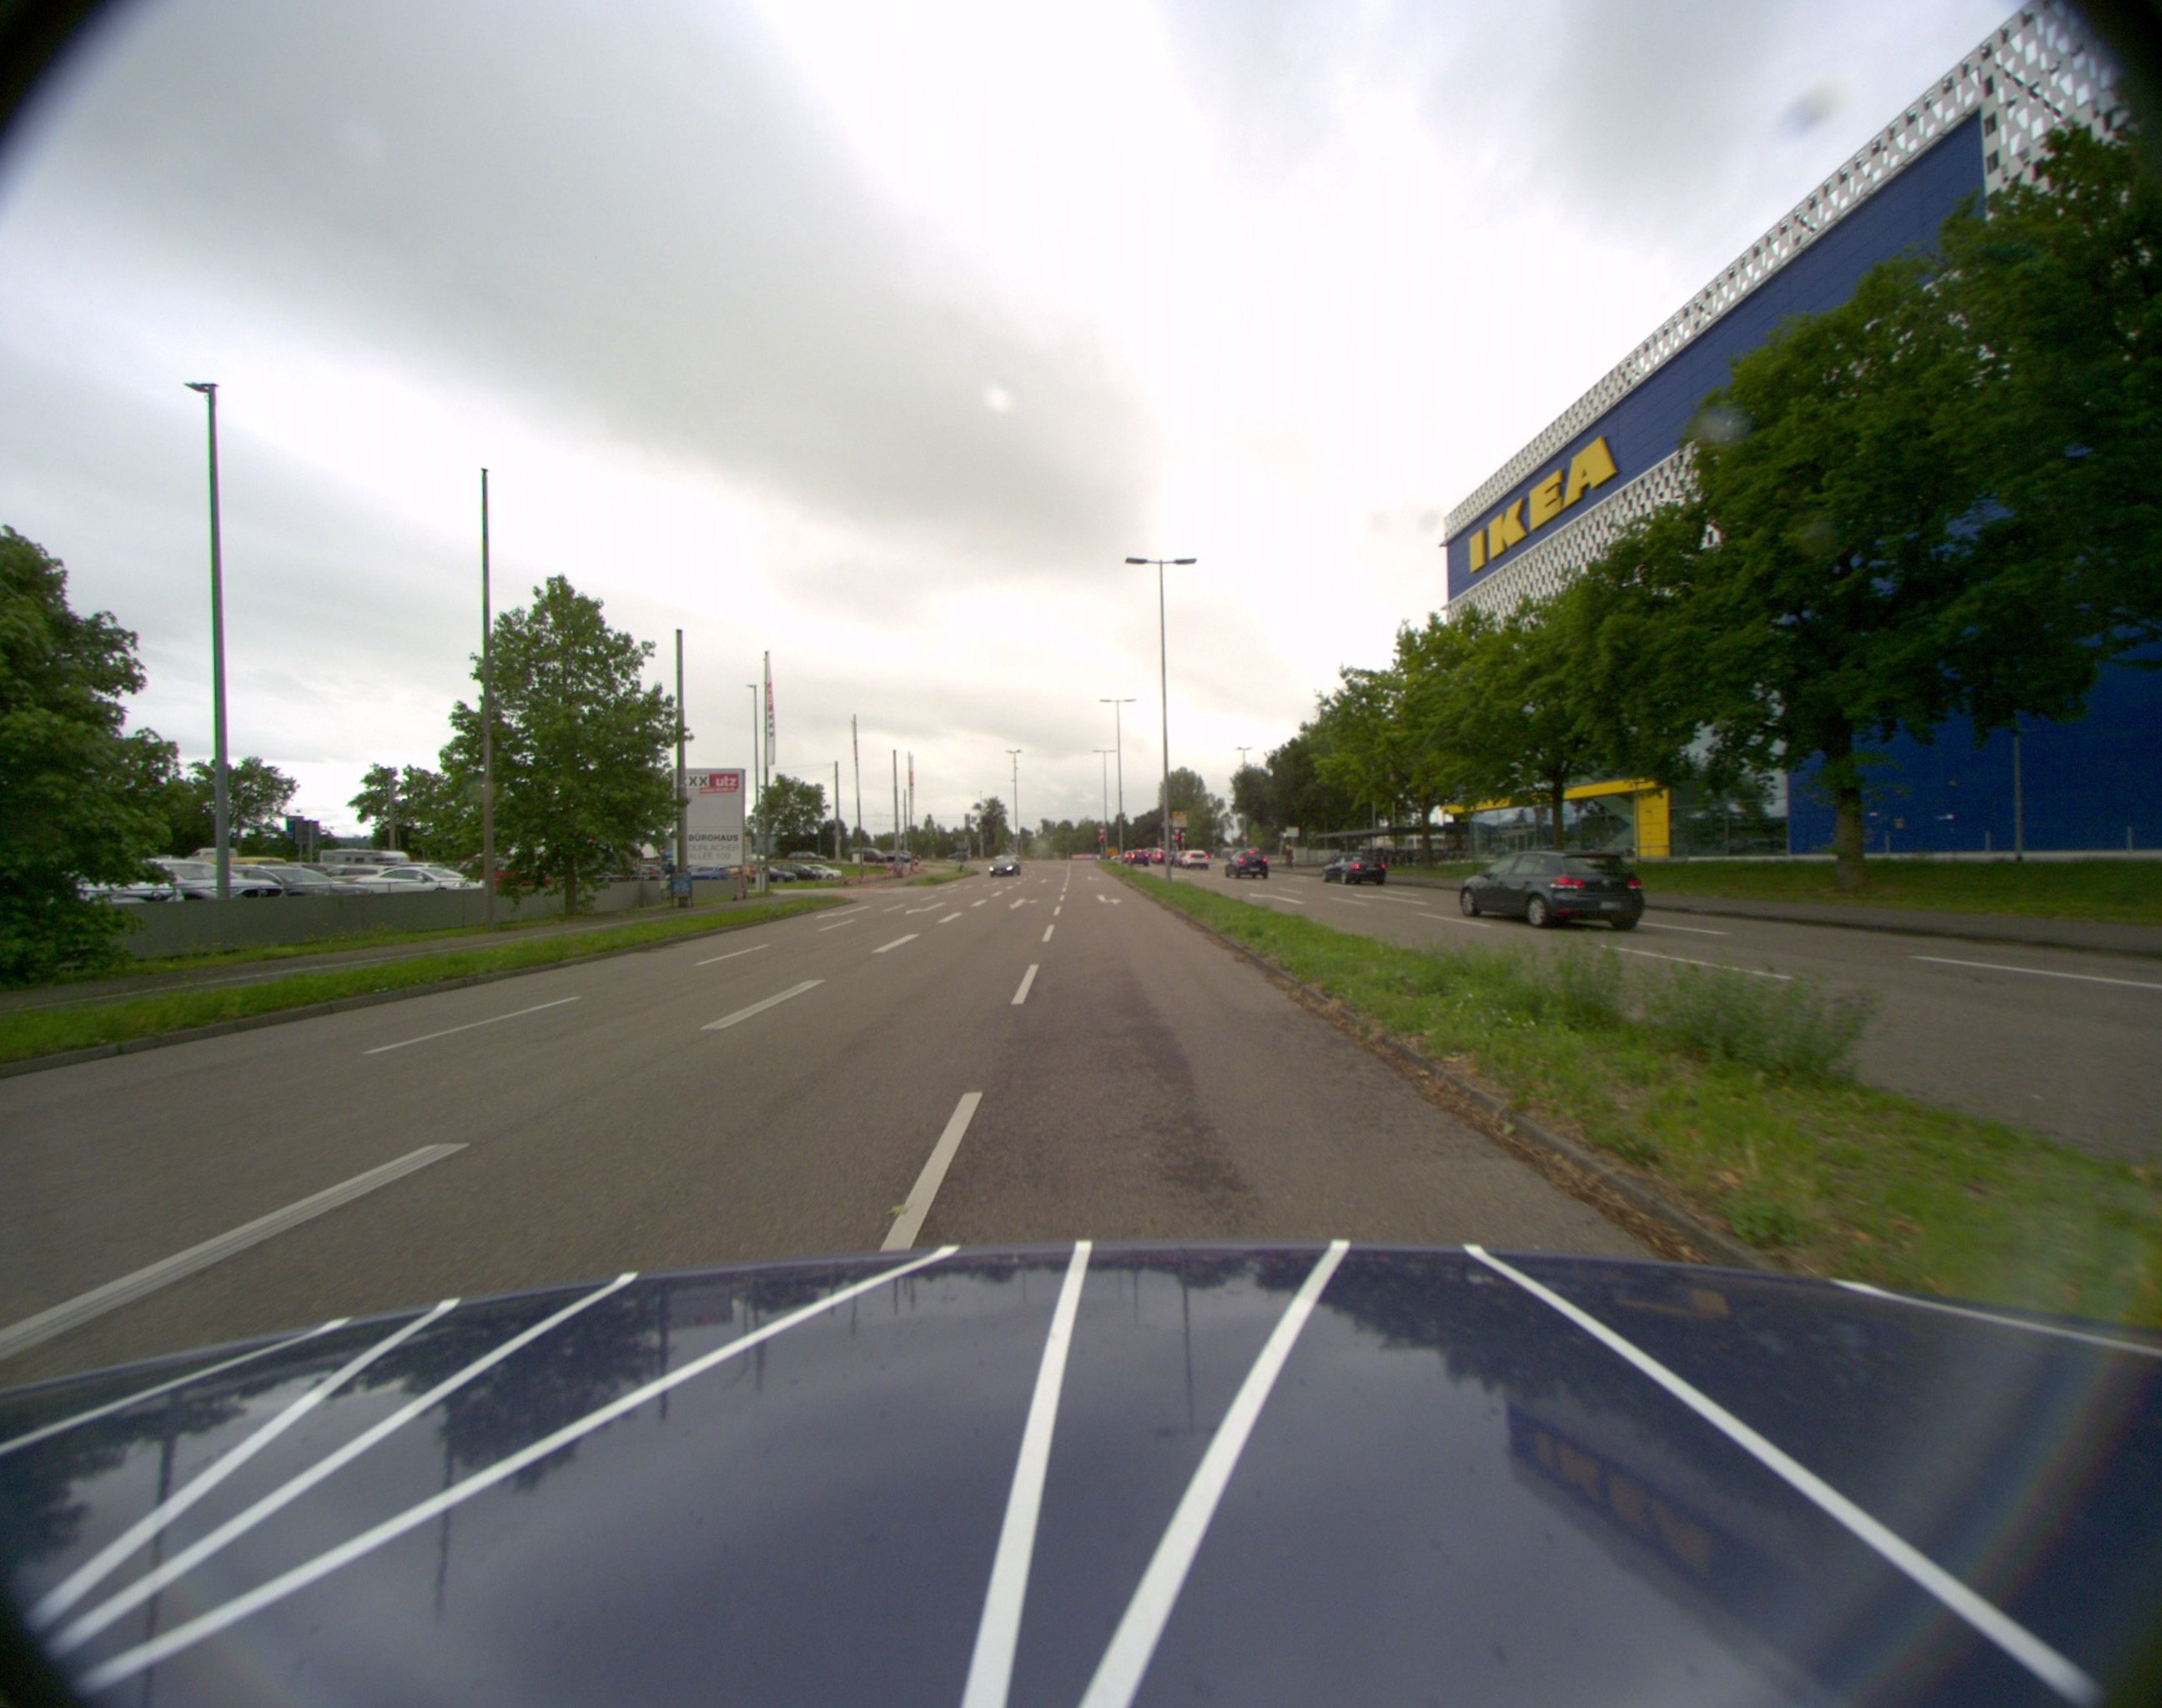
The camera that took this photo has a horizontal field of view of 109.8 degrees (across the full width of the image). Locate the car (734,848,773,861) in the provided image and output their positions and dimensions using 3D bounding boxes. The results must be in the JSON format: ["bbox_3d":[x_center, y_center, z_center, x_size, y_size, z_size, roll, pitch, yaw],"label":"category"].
[{"bbox_3d":[-40.826,0.051,94.830,4.043,1.529,1.734,-1,-1,0],"label":"car"}]

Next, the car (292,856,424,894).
[{"bbox_3d":[-33.395,0.986,35.183,4.422,1.574,1.835,-2,-1,2],"label":"car"}]

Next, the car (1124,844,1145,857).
[{"bbox_3d":[5.942,-0.439,85.378,1.888,1.428,4.430,0,1,-2],"label":"car"}]

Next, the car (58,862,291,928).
[{"bbox_3d":[-23.554,1.050,19.852,4.064,1.531,1.764,-1,-1,2],"label":"car"}]

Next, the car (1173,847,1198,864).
[{"bbox_3d":[9.427,0.107,68.769,1.607,1.489,4.036,1,1,-1],"label":"car"}]

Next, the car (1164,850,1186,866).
[{"bbox_3d":[9.283,0.375,75.090,1.607,1.436,4.142,1,1,-1],"label":"car"}]

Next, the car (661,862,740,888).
[{"bbox_3d":[-23.639,1.269,47.310,3.997,1.447,1.814,-1,1,1],"label":"car"}]

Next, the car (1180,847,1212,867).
[{"bbox_3d":[9.410,0.212,62.227,1.936,1.510,4.180,-1,2,-1],"label":"car"}]

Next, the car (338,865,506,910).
[{"bbox_3d":[-23.730,1.210,27.480,4.385,1.452,1.961,-1,-1,2],"label":"car"}]

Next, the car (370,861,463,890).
[{"bbox_3d":[-38.978,1.249,44.629,3.904,1.571,1.693,-1,0,-1],"label":"car"}]

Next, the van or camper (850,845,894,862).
[{"bbox_3d":[-25.589,-0.079,93.004,4.743,2.003,2.125,1,3,16],"label":"van or camper"}]

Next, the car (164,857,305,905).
[{"bbox_3d":[-33.567,1.051,30.197,3.745,1.757,1.734,-1,-1,2],"label":"car"}]

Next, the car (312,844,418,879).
[{"bbox_3d":[-65.438,0.748,69.548,6.946,2.971,2.769,-1,-1,-1],"label":"car"}]

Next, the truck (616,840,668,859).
[{"bbox_3d":[-69.727,-0.765,120.684,6.541,2.905,2.828,0,-1,-4],"label":"truck"}]

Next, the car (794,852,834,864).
[{"bbox_3d":[-33.212,0.446,94.633,4.316,1.455,1.969,0,0,5],"label":"car"}]

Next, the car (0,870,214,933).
[{"bbox_3d":[-23.323,1.097,17.711,4.064,1.342,1.835,-1,-2,-1],"label":"car"}]

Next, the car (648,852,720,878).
[{"bbox_3d":[-33.710,0.904,64.611,5.046,2.153,2.123,-1,1,5],"label":"car"}]

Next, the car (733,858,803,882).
[{"bbox_3d":[-23.402,1.212,57.007,4.542,1.574,1.767,-2,2,-13],"label":"car"}]

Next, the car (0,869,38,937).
[{"bbox_3d":[-23.438,1.002,14.690,4.064,1.342,1.764,-1,-1,-1],"label":"car"}]

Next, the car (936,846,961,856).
[{"bbox_3d":[-20.972,-0.439,120.437,3.828,1.502,1.722,-1,-2,-14],"label":"car"}]

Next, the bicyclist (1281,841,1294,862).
[{"bbox_3d":[15.800,-0.163,58.090,0.642,1.568,1.000,-3,1,0],"label":"bicyclist"}]

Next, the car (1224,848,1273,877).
[{"bbox_3d":[9.138,0.419,41.696,1.762,1.445,3.998,-1,1,-1],"label":"car"}]

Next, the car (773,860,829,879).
[{"bbox_3d":[-23.862,1.320,64.775,4.103,1.574,1.769,-1,-1,-3],"label":"car"}]

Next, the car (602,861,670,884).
[{"bbox_3d":[-33.574,1.354,57.411,3.995,1.547,1.948,-2,1,6],"label":"car"}]

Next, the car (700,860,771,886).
[{"bbox_3d":[-23.728,1.285,52.270,3.995,1.634,1.815,-1,1,5],"label":"car"}]

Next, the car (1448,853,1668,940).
[{"bbox_3d":[9.222,0.732,15.180,1.784,1.447,4.181,0,1,0],"label":"car"}]

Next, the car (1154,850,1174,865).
[{"bbox_3d":[8.839,0.342,81.526,1.666,1.494,4.064,0,1,-1],"label":"car"}]

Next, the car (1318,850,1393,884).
[{"bbox_3d":[12.608,0.561,35.200,1.776,1.443,4.403,0,1,-1],"label":"car"}]

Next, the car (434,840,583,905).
[{"bbox_3d":[-24.327,0.791,32.441,4.734,2.563,2.171,-1,-1,2],"label":"car"}]

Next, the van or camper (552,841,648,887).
[{"bbox_3d":[-32.923,0.672,52.094,5.391,2.967,1.992,-1,1,7],"label":"van or camper"}]

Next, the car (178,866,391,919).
[{"bbox_3d":[-23.684,1.124,22.709,4.476,1.410,1.868,-1,-1,2],"label":"car"}]

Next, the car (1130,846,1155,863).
[{"bbox_3d":[5.806,0.002,72.152,1.936,1.477,4.438,0,1,-1],"label":"car"}]

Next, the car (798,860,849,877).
[{"bbox_3d":[-23.776,1.378,70.292,4.117,1.437,1.876,-1,-1,-1],"label":"car"}]

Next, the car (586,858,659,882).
[{"bbox_3d":[-33.223,1.127,55.106,3.997,1.559,2.000,-2,1,1],"label":"car"}]
